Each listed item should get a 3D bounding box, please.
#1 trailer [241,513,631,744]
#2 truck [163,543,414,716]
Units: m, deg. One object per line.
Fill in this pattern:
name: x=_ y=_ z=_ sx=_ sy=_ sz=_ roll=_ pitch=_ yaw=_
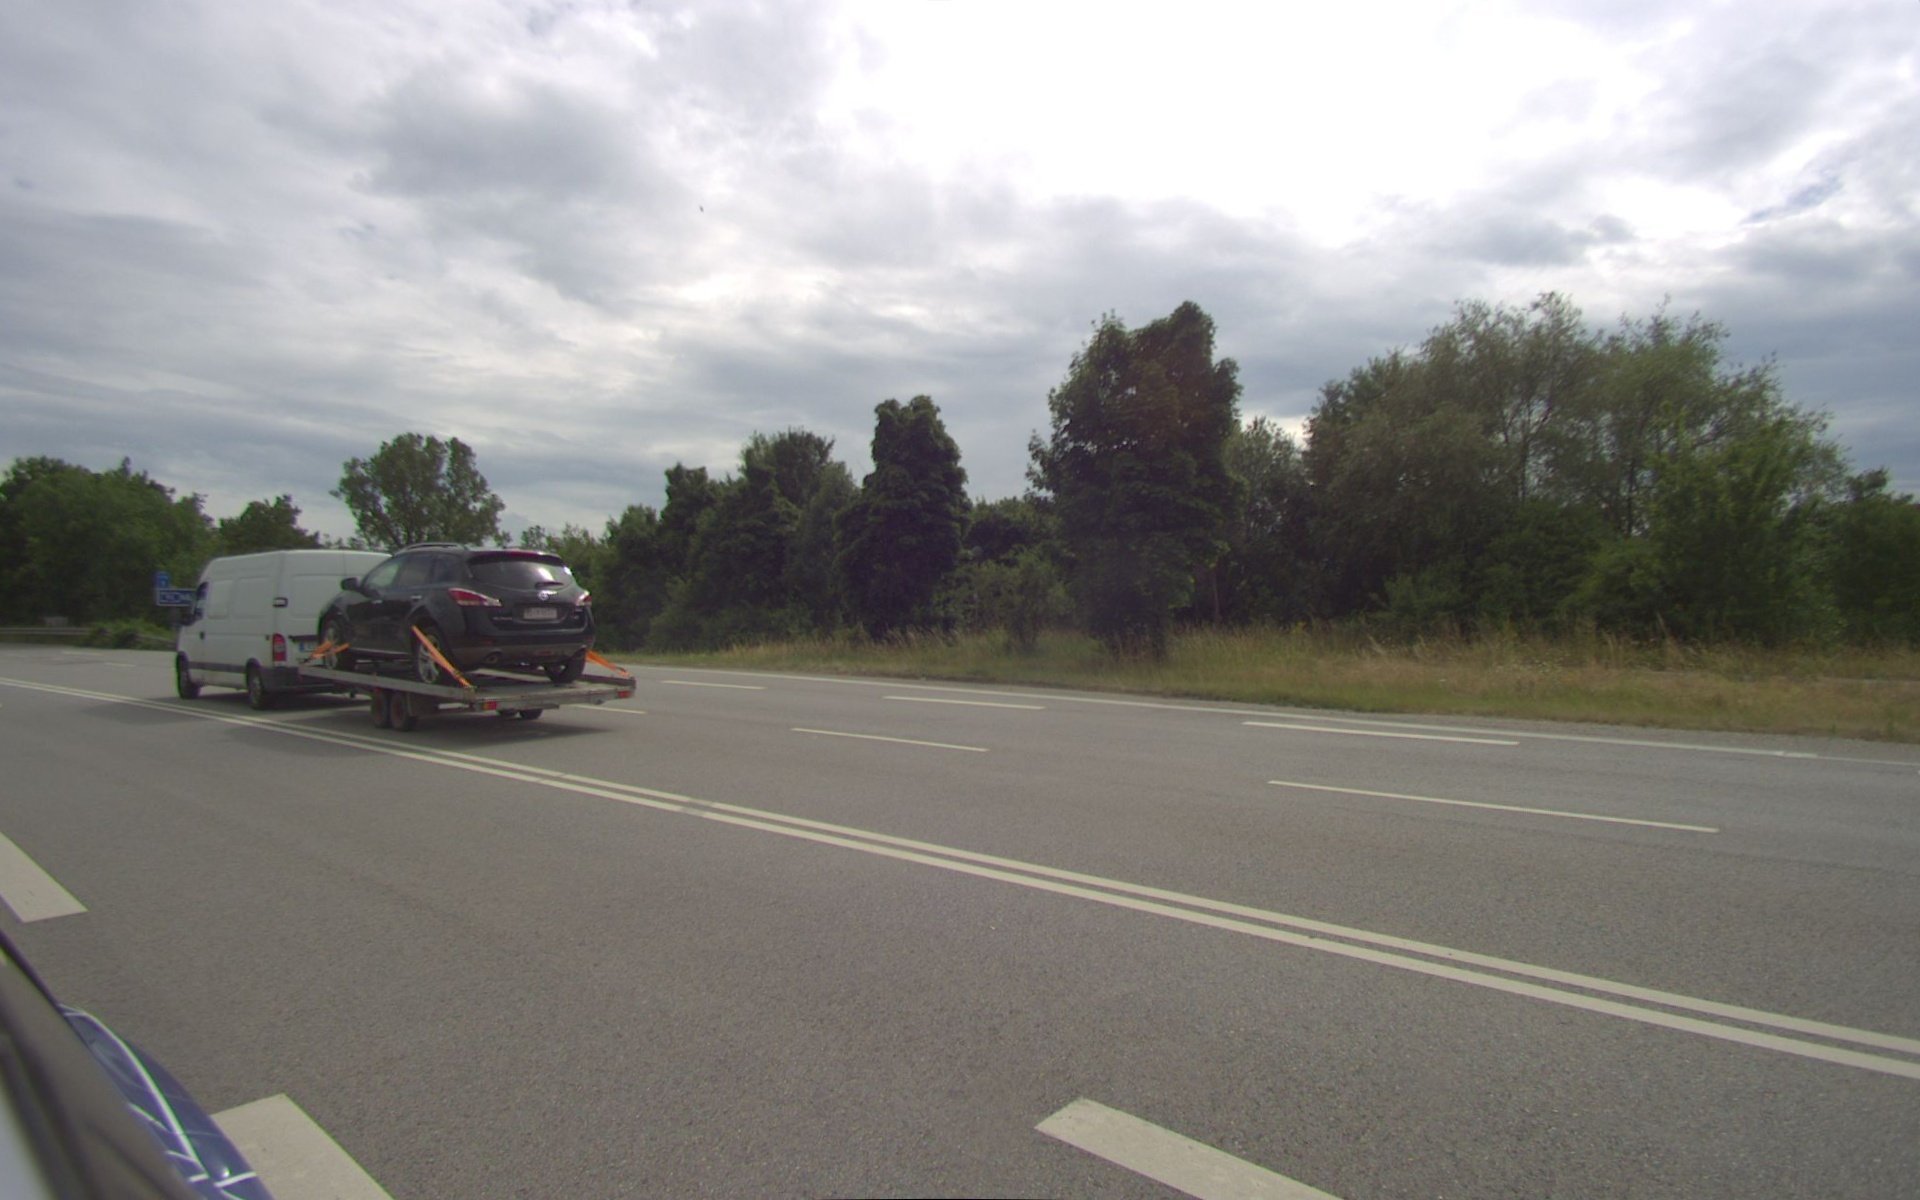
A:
trailer: x=-7.375 y=0.359 z=13.744 sx=6.956 sy=2.463 sz=2.004 roll=-1 pitch=0 yaw=38
truck: x=-11.244 y=0.459 z=16.799 sx=5.018 sy=2.463 sz=2.004 roll=-1 pitch=0 yaw=38
